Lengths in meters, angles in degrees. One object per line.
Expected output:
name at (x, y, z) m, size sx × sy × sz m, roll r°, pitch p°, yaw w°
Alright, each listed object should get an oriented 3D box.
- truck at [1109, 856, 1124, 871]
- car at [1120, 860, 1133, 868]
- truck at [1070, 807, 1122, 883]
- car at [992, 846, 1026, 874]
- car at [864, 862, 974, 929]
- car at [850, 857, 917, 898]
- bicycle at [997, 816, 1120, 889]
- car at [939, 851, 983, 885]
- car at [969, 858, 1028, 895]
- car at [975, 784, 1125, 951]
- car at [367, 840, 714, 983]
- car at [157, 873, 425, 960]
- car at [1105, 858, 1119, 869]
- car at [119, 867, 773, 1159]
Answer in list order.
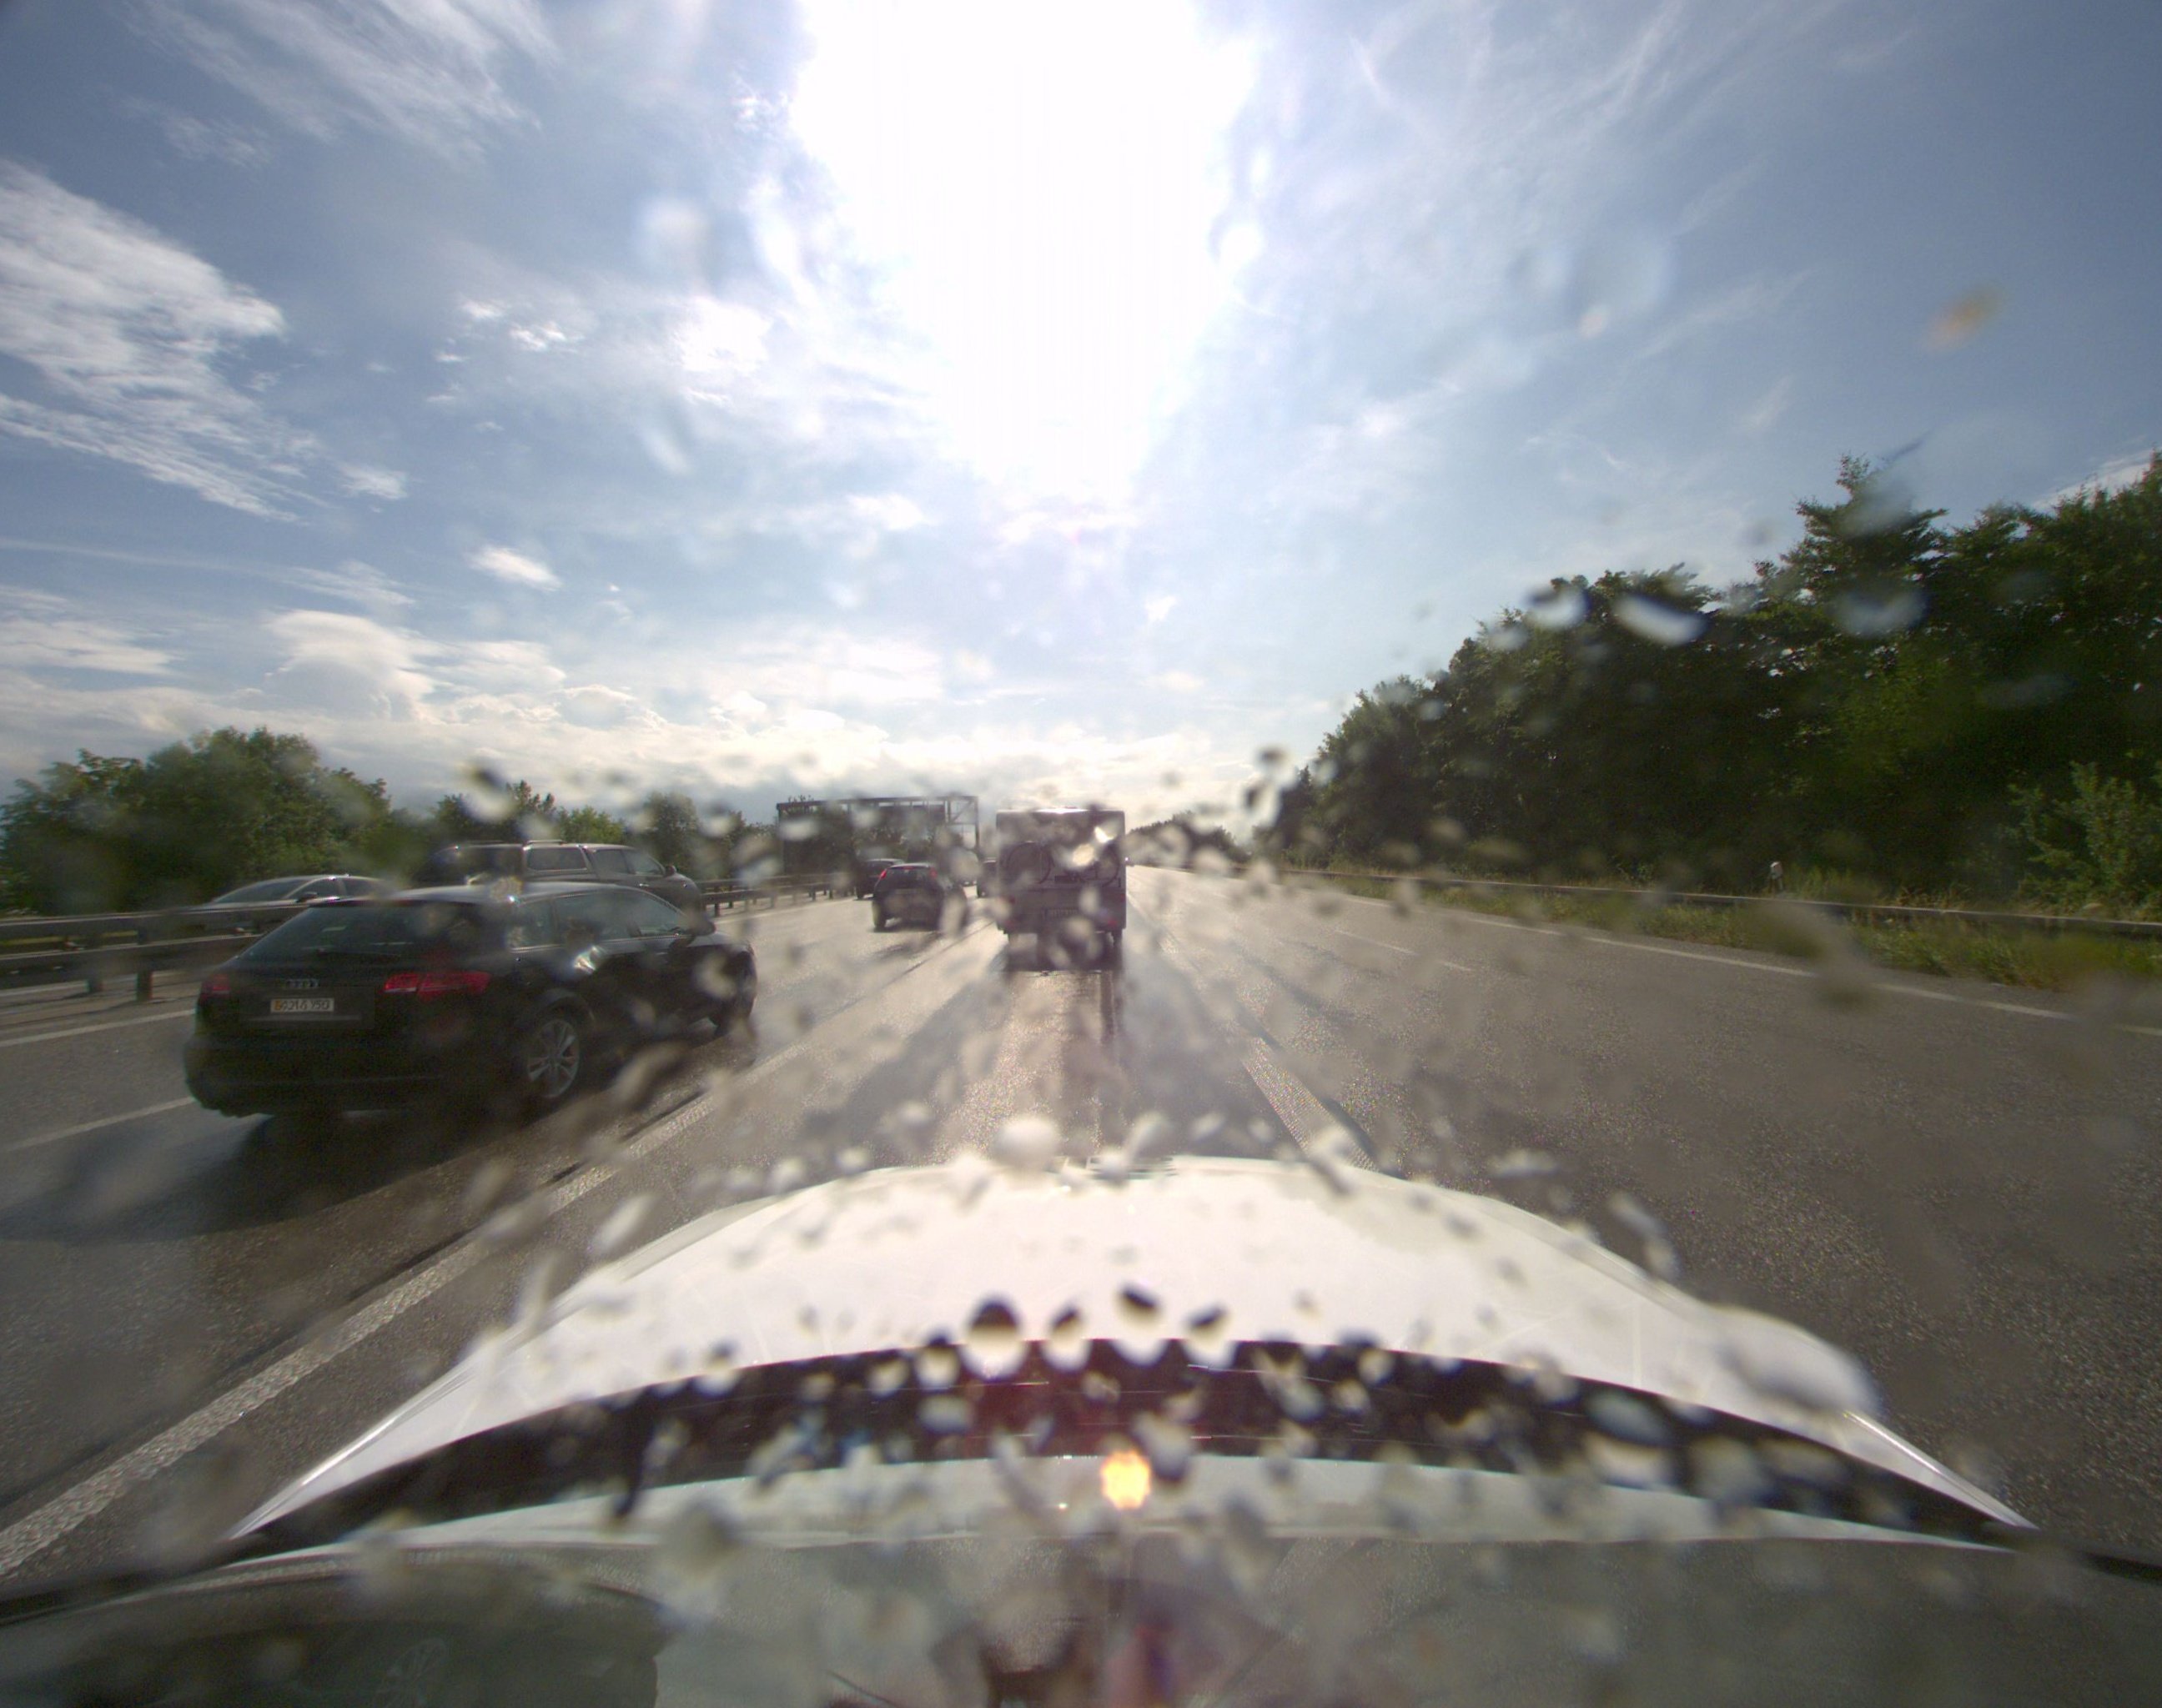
truck at (6.000, 1.557, 137.038) m, size 2.406 × 2.444 × 6.055 m, roll -1°, pitch 0°, yaw 2°
car at (8.195, 1.770, 146.435) m, size 1.872 × 1.494 × 3.996 m, roll 0°, pitch -1°, yaw -3°
truck at (0.946, -0.520, 55.478) m, size 3.135 × 4.626 × 10.735 m, roll -1°, pitch 0°, yaw 0°
car at (-4.398, 0.378, 50.340) m, size 1.683 × 1.662 × 3.641 m, roll -1°, pitch 0°, yaw 1°
car at (-3.882, 0.937, 20.173) m, size 1.752 × 1.443 × 4.002 m, roll -1°, pitch 0°, yaw 2°
car at (-8.151, 0.942, 33.935) m, size 1.777 × 1.578 × 3.915 m, roll -1°, pitch 0°, yaw 0°
bicycle at (-0.354, -0.020, 13.005) m, size 1.926 × 1.141 × 0.384 m, roll -1°, pitch -1°, yaw 2°
car at (-7.152, 0.819, 49.099) m, size 1.841 × 1.934 × 5.016 m, roll -1°, pitch 0°, yaw 1°
car at (-3.474, 0.934, 34.979) m, size 1.980 × 1.458 × 3.828 m, roll -1°, pitch 0°, yaw 2°
car at (-0.431, 0.240, 15.204) m, size 2.401 × 2.674 × 4.002 m, roll -1°, pitch -1°, yaw 2°
car at (-8.306, 0.763, 13.365) m, size 1.799 × 1.844 × 5.423 m, roll -1°, pitch 0°, yaw 3°
car at (-15.666, 1.168, 16.453) m, size 1.839 × 1.451 × 3.633 m, roll -1°, pitch 0°, yaw 0°
car at (4.521, 1.393, 118.939) m, size 1.831 × 1.558 × 3.996 m, roll 0°, pitch -1°, yaw -2°
car at (-4.057, 0.853, 6.237) m, size 1.744 × 1.433 × 4.055 m, roll -1°, pitch 0°, yaw 1°
